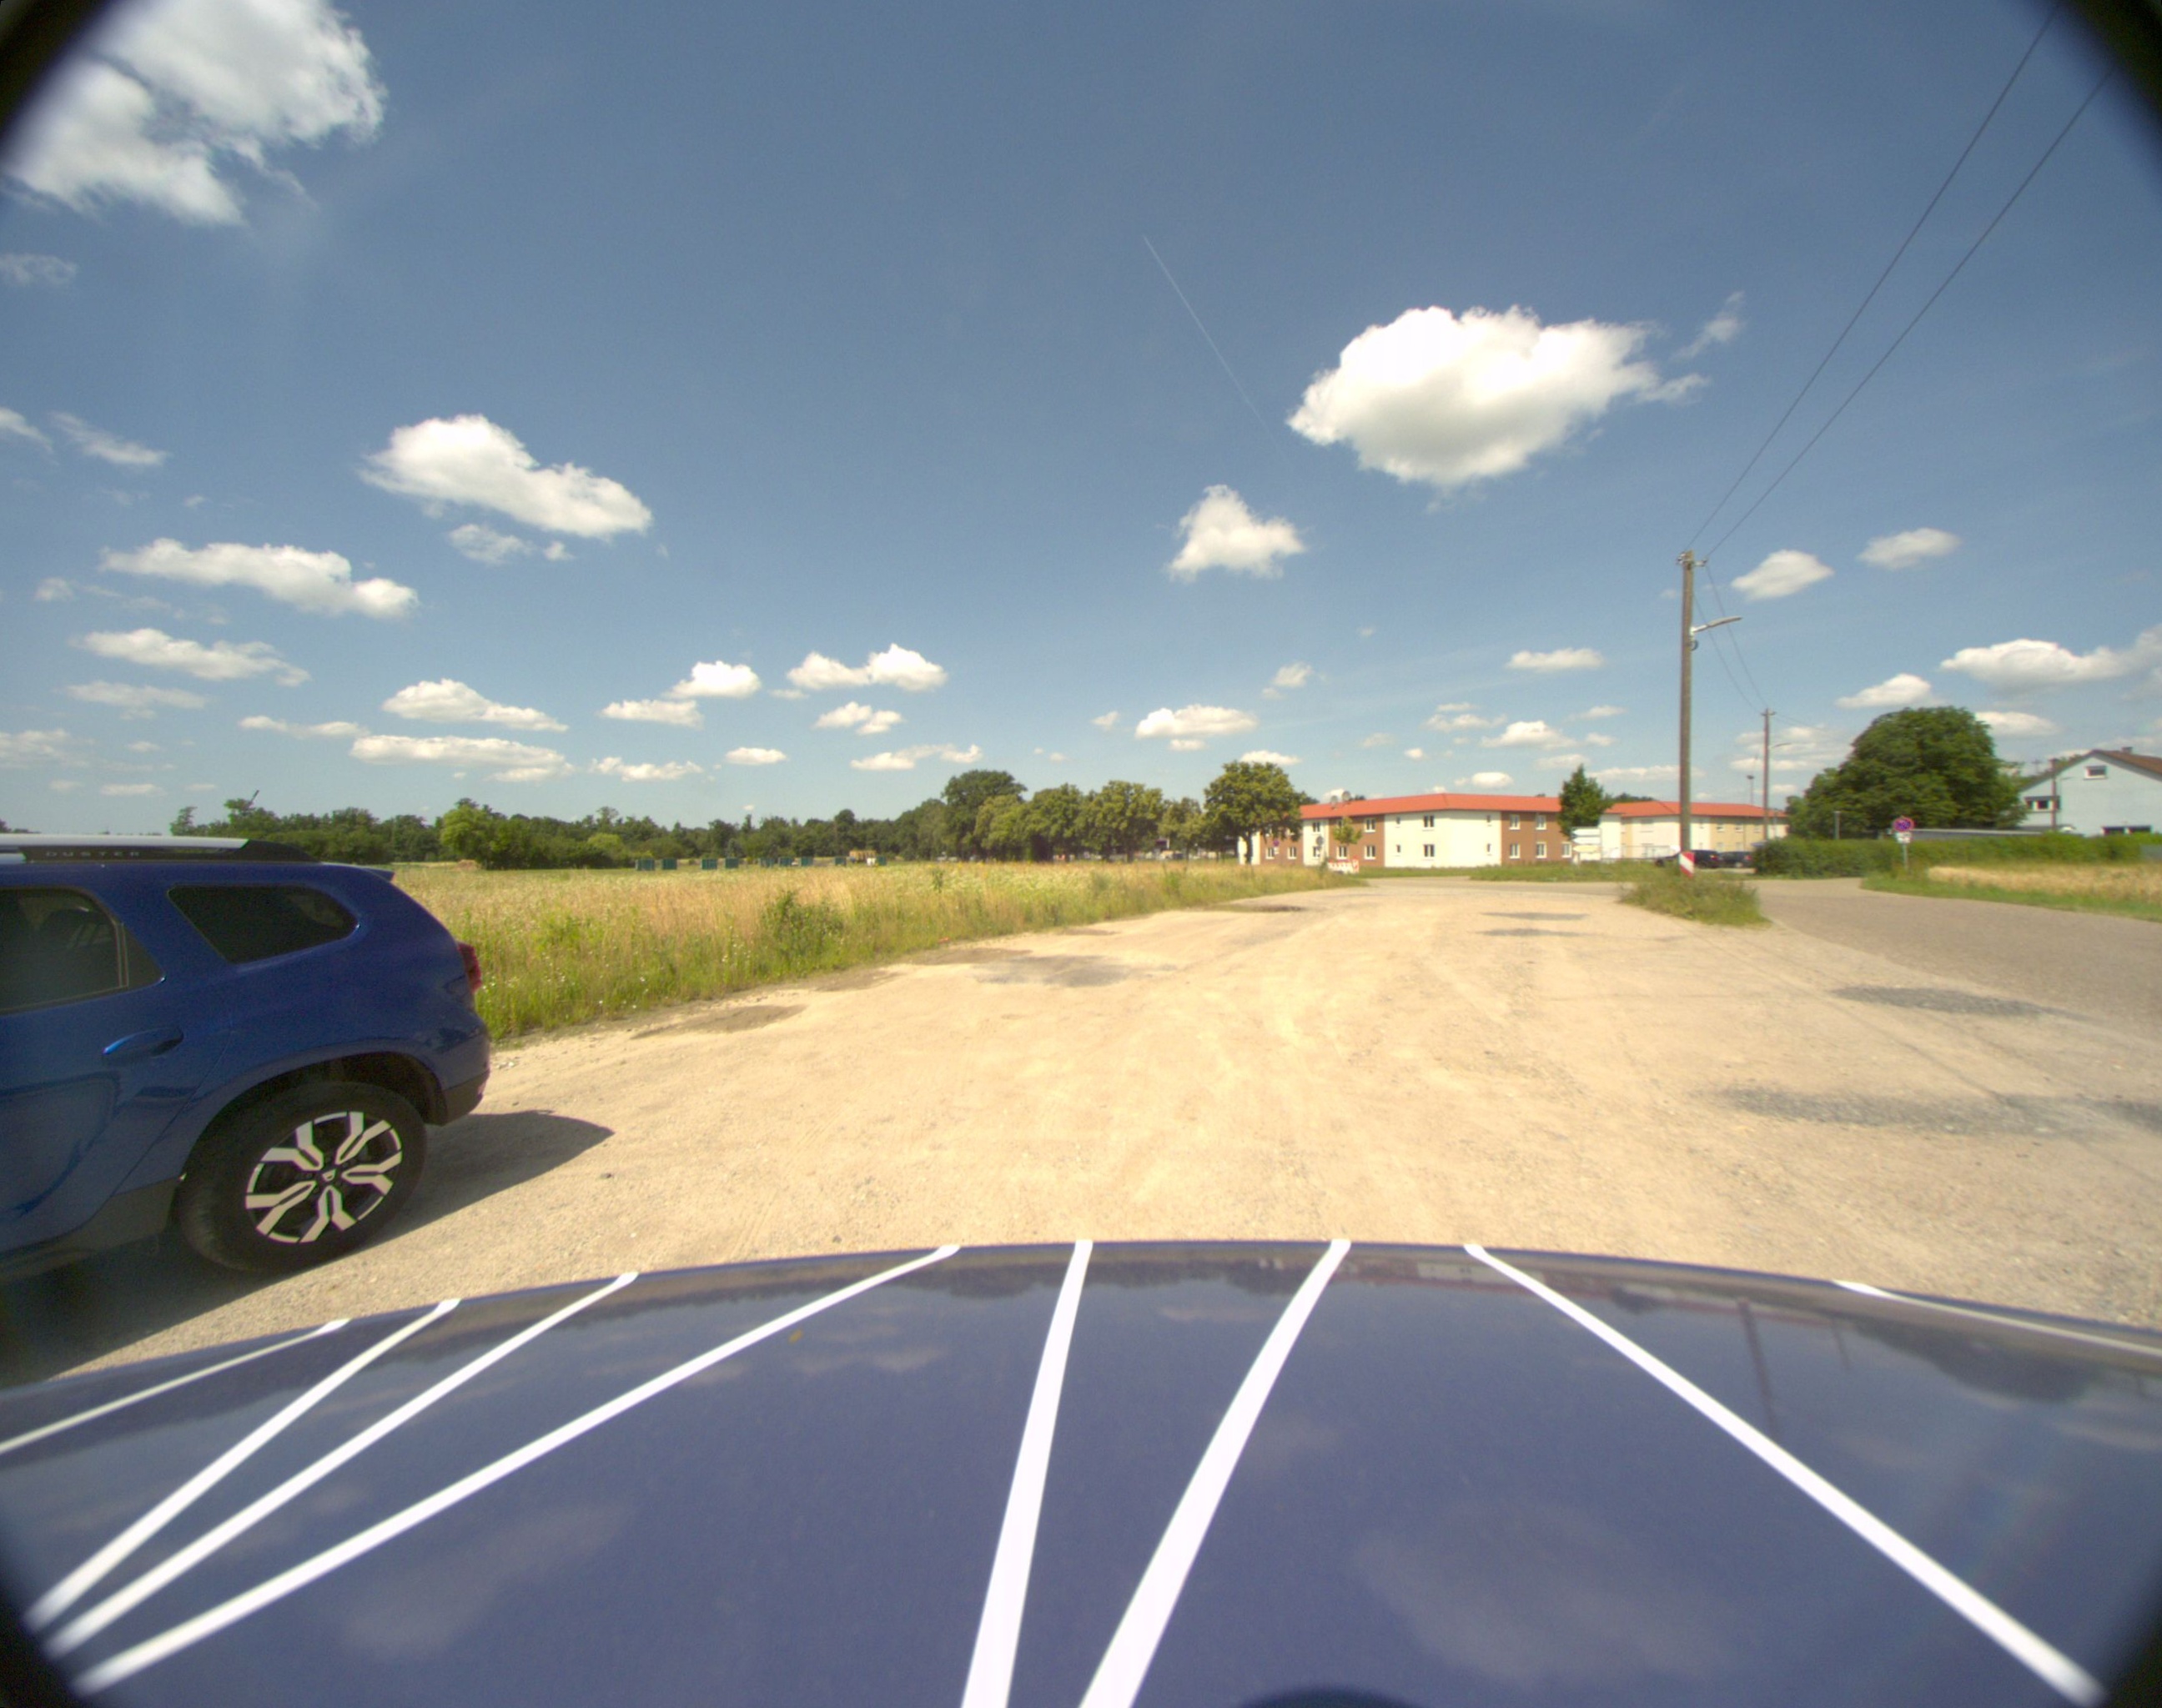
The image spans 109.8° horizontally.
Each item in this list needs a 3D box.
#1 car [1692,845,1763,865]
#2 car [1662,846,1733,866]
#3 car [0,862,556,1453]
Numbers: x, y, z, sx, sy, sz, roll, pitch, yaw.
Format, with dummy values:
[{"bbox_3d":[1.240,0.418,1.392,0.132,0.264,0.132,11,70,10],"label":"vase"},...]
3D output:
[{"bbox_3d":[55.312,0.092,65.094,2.003,1.605,4.139,0,0,-26],"label":"car"},{"bbox_3d":[51.620,0.160,63.690,2.003,1.605,4.139,0,0,-26],"label":"car"},{"bbox_3d":[-4.215,0.936,1.907,1.860,1.651,4.464,-1,1,19],"label":"car"}]
